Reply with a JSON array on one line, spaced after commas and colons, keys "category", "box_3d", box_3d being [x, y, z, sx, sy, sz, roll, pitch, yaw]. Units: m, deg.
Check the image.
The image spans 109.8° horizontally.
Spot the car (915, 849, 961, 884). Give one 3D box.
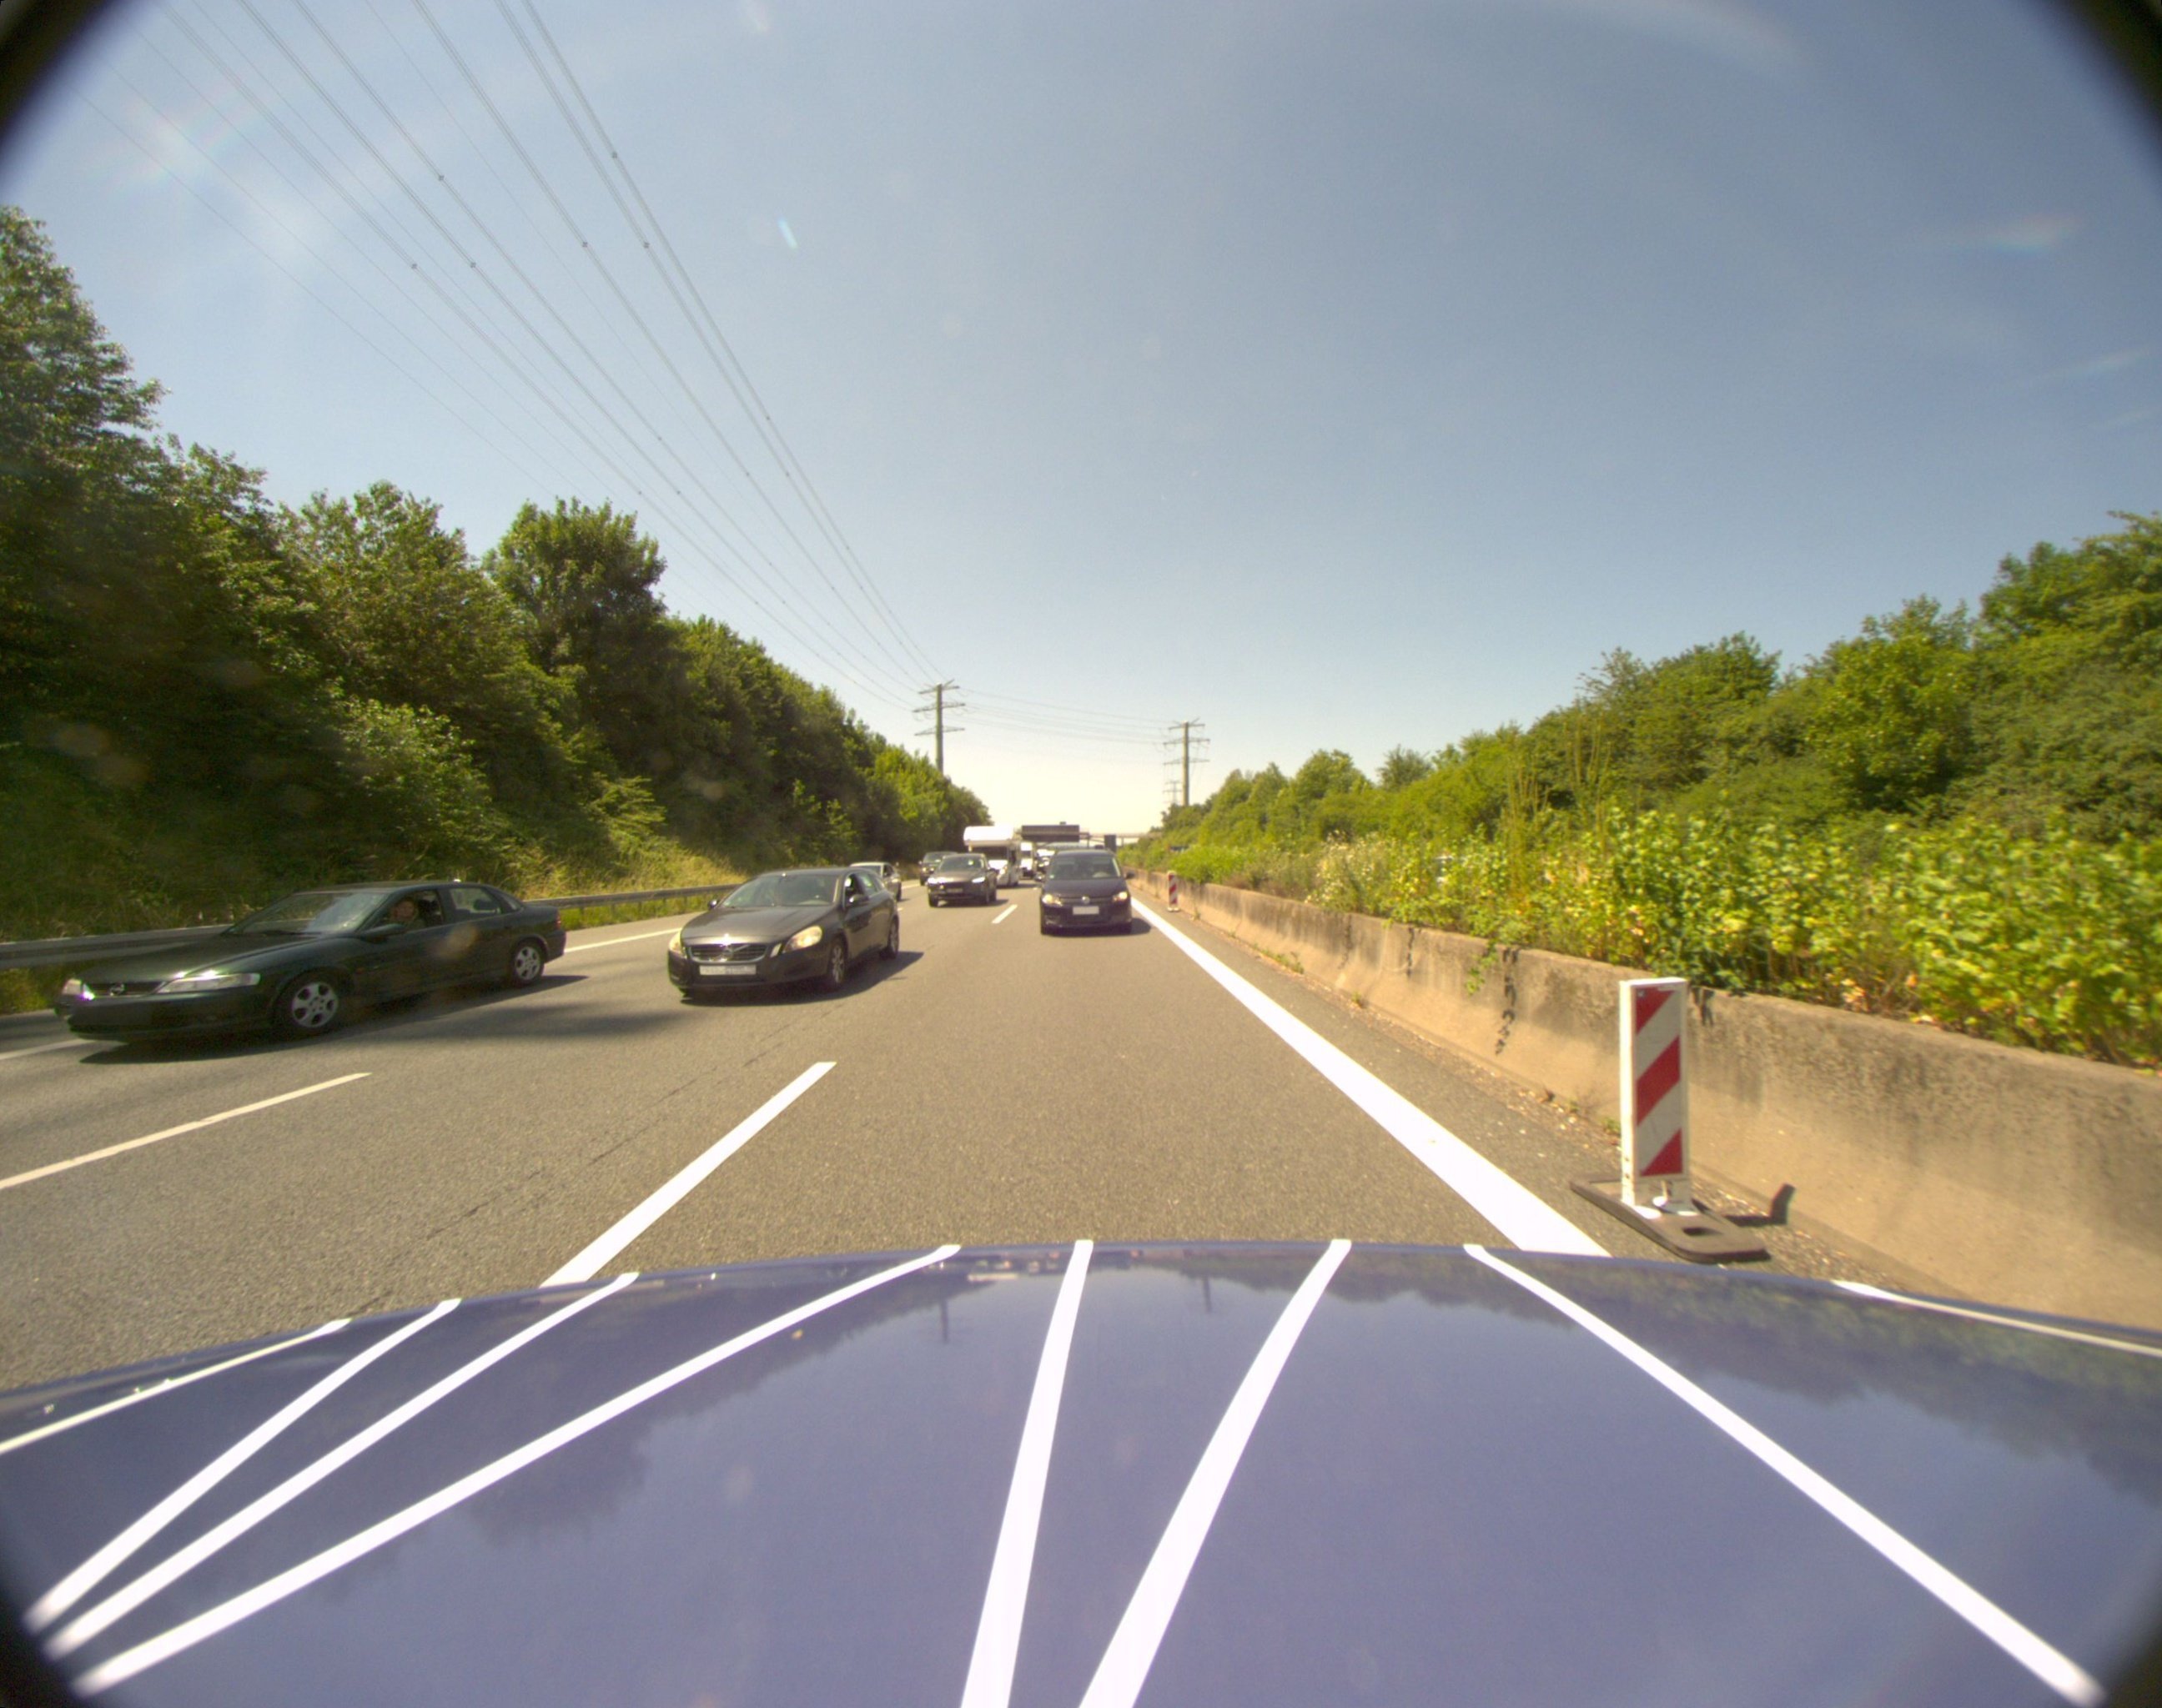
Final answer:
[{"category": "car", "box_3d": [-8.470, 0.694, 45.282, 1.788, 1.893, 4.697, -2, 1, 0]}]

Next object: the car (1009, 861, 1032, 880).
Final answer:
[{"category": "car", "box_3d": [-5.778, 1.543, 72.494, 1.892, 1.693, 4.382, -2, 1, -2]}]

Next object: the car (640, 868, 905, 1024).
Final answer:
[{"category": "car", "box_3d": [-3.684, 0.995, 10.005, 1.801, 1.429, 4.229, -2, 1, -2]}]

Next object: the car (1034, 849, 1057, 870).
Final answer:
[{"category": "car", "box_3d": [-3.074, 0.470, 66.716, 1.892, 1.693, 4.382, -2, 1, -2]}]

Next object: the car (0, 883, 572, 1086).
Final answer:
[{"category": "car", "box_3d": [-7.886, 1.135, 8.269, 1.739, 1.370, 4.301, -2, 1, 0]}]

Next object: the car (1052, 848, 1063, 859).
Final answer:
[{"category": "car", "box_3d": [-4.432, -0.105, 143.269, 1.998, 2.002, 3.999, -2, 1, 0]}]

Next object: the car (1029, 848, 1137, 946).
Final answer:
[{"category": "car", "box_3d": [-0.013, 0.755, 15.938, 1.892, 1.693, 4.382, -2, 1, -2]}]

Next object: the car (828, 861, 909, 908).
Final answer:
[{"category": "car", "box_3d": [-7.586, 1.052, 27.535, 1.745, 1.461, 4.013, -2, 0, 0]}]

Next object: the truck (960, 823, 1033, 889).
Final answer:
[{"category": "truck", "box_3d": [-4.248, 0.050, 40.460, 2.514, 2.997, 9.896, -2, 1, 1]}]

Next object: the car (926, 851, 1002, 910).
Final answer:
[{"category": "car", "box_3d": [-3.753, 0.782, 25.118, 1.892, 1.693, 4.382, -2, 1, -2]}]

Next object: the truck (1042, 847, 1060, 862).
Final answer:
[{"category": "truck", "box_3d": [-4.809, 0.028, 121.291, 2.409, 2.203, 6.743, -2, 1, 1]}]

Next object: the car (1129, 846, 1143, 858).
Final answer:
[{"category": "car", "box_3d": [13.706, -0.590, 188.362, 2.769, 2.856, 7.675, -2, 1, 0]}]

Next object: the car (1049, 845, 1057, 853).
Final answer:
[{"category": "car", "box_3d": [-7.404, -1.230, 202.683, 1.998, 2.002, 3.999, -2, 1, 0]}]

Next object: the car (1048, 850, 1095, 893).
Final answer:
[{"category": "car", "box_3d": [-0.441, 0.702, 33.305, 1.892, 1.693, 4.382, -2, 1, -2]}]

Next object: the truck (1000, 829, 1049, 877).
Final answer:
[{"category": "truck", "box_3d": [-3.865, -0.107, 54.227, 2.514, 2.997, 9.896, -2, 1, 1]}]

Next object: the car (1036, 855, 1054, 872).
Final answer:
[{"category": "car", "box_3d": [-4.131, 1.074, 87.708, 1.892, 1.693, 4.382, -2, 1, -2]}]
